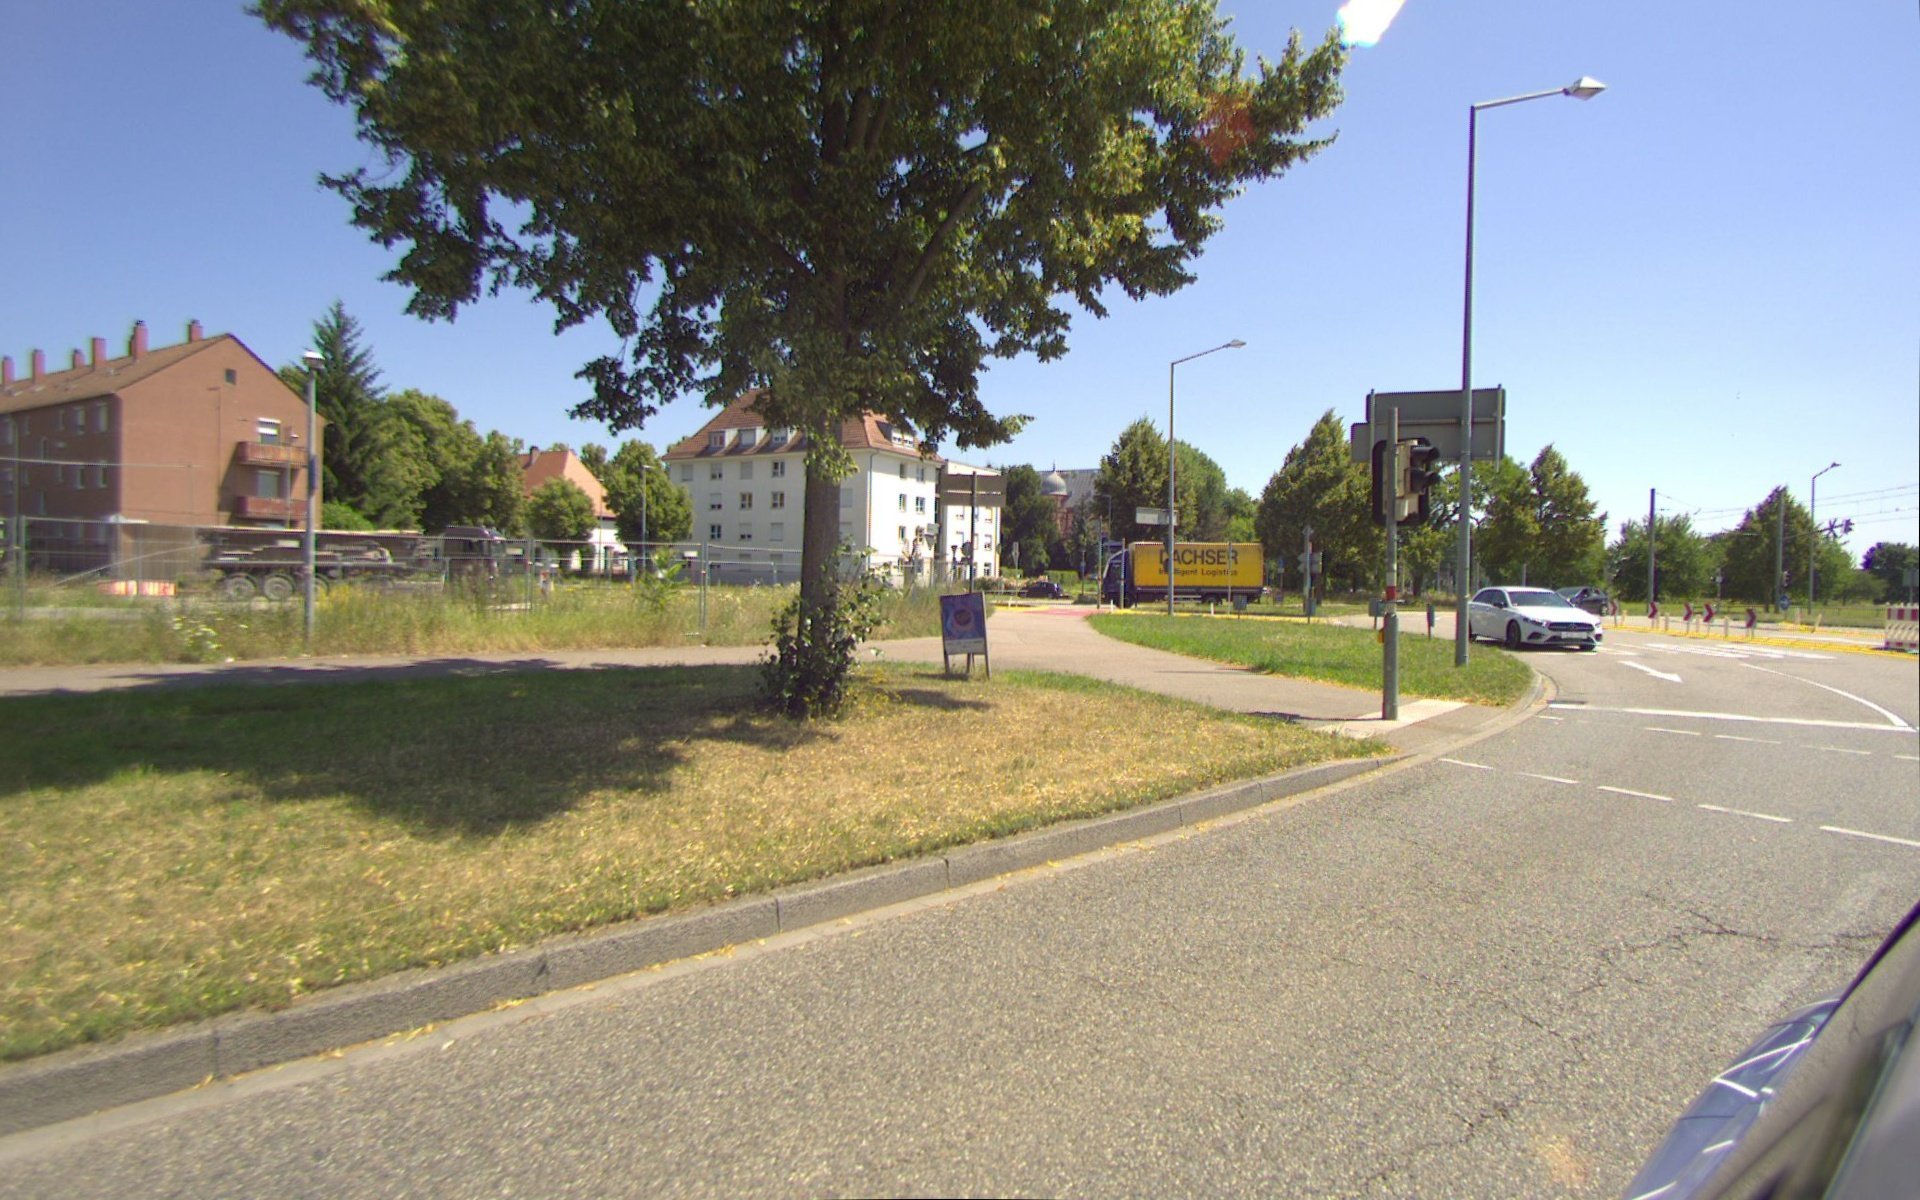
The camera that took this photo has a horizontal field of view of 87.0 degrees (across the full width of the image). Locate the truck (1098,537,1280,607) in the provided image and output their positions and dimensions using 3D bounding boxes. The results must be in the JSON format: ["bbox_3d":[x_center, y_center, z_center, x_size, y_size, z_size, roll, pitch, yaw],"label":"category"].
[{"bbox_3d":[12.651,-1.544,56.393,9.433,3.704,2.708,1,1,0],"label":"truck"}]

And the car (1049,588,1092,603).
[{"bbox_3d":[9.501,-0.423,87.187,3.486,1.232,1.341,1,1,32],"label":"car"}]

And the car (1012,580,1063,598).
[{"bbox_3d":[6.269,-0.912,81.852,3.778,1.343,1.641,1,1,32],"label":"car"}]

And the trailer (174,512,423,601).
[{"bbox_3d":[-28.681,-1.783,44.272,8.821,3.577,3.165,0,1,-35],"label":"trailer"}]

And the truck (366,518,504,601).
[{"bbox_3d":[-23.868,-1.818,46.283,4.861,3.577,3.171,1,1,-11],"label":"truck"}]

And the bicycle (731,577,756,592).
[{"bbox_3d":[-16.349,-1.202,76.348,1.974,1.036,0.700,2,4,37],"label":"bicycle"}]

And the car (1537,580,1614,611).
[{"bbox_3d":[30.420,-0.243,49.997,3.927,1.436,1.979,-1,1,-38],"label":"car"}]

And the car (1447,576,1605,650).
[{"bbox_3d":[13.421,0.245,24.292,1.749,1.564,3.961,0,2,4],"label":"car"}]
